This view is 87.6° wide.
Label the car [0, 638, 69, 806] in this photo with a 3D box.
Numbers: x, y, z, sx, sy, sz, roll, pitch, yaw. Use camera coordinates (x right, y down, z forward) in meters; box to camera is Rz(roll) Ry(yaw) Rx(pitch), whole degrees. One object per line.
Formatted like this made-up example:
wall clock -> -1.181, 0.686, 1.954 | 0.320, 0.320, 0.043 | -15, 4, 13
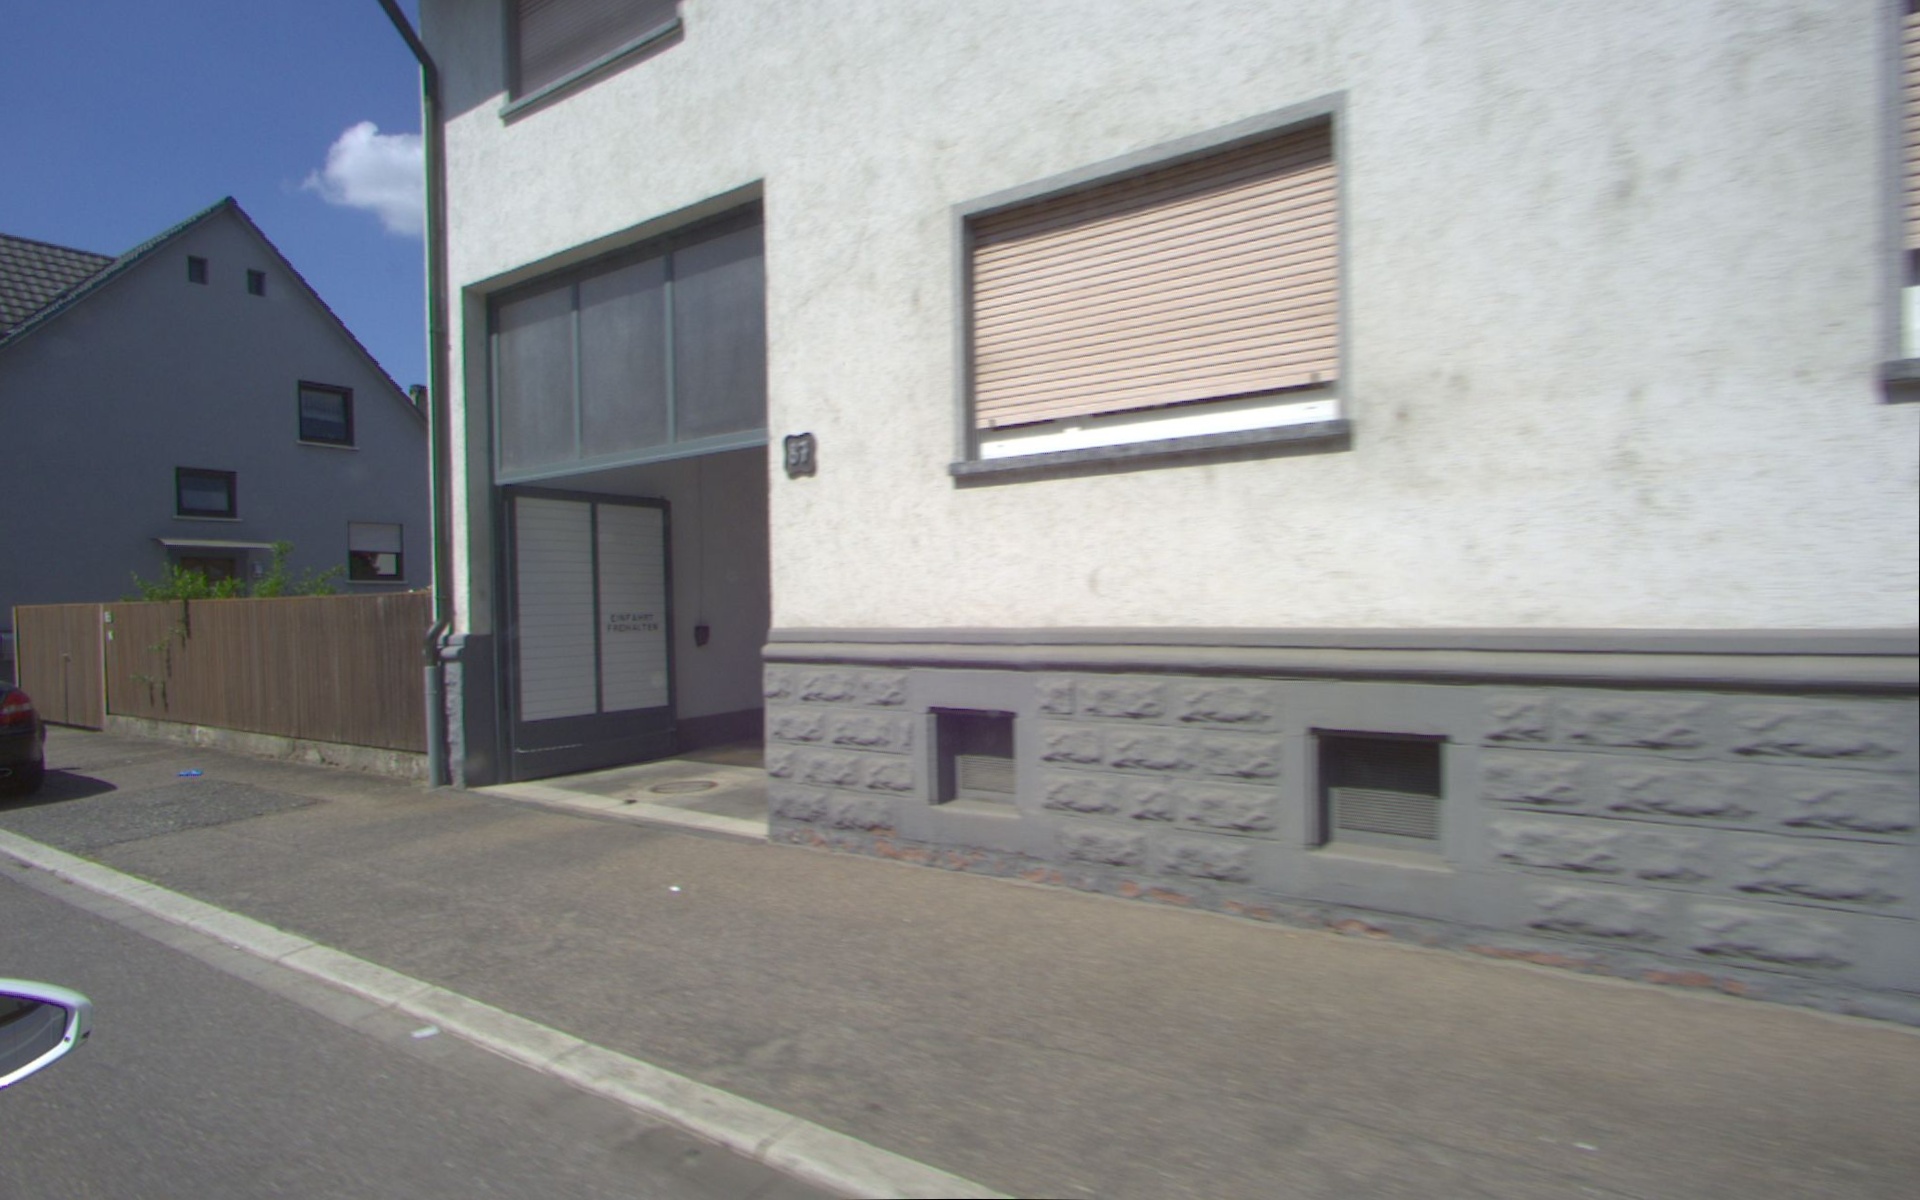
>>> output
car -> -9.503, 0.998, 8.624 | 4.090, 1.292, 1.811 | -1, 0, 34
